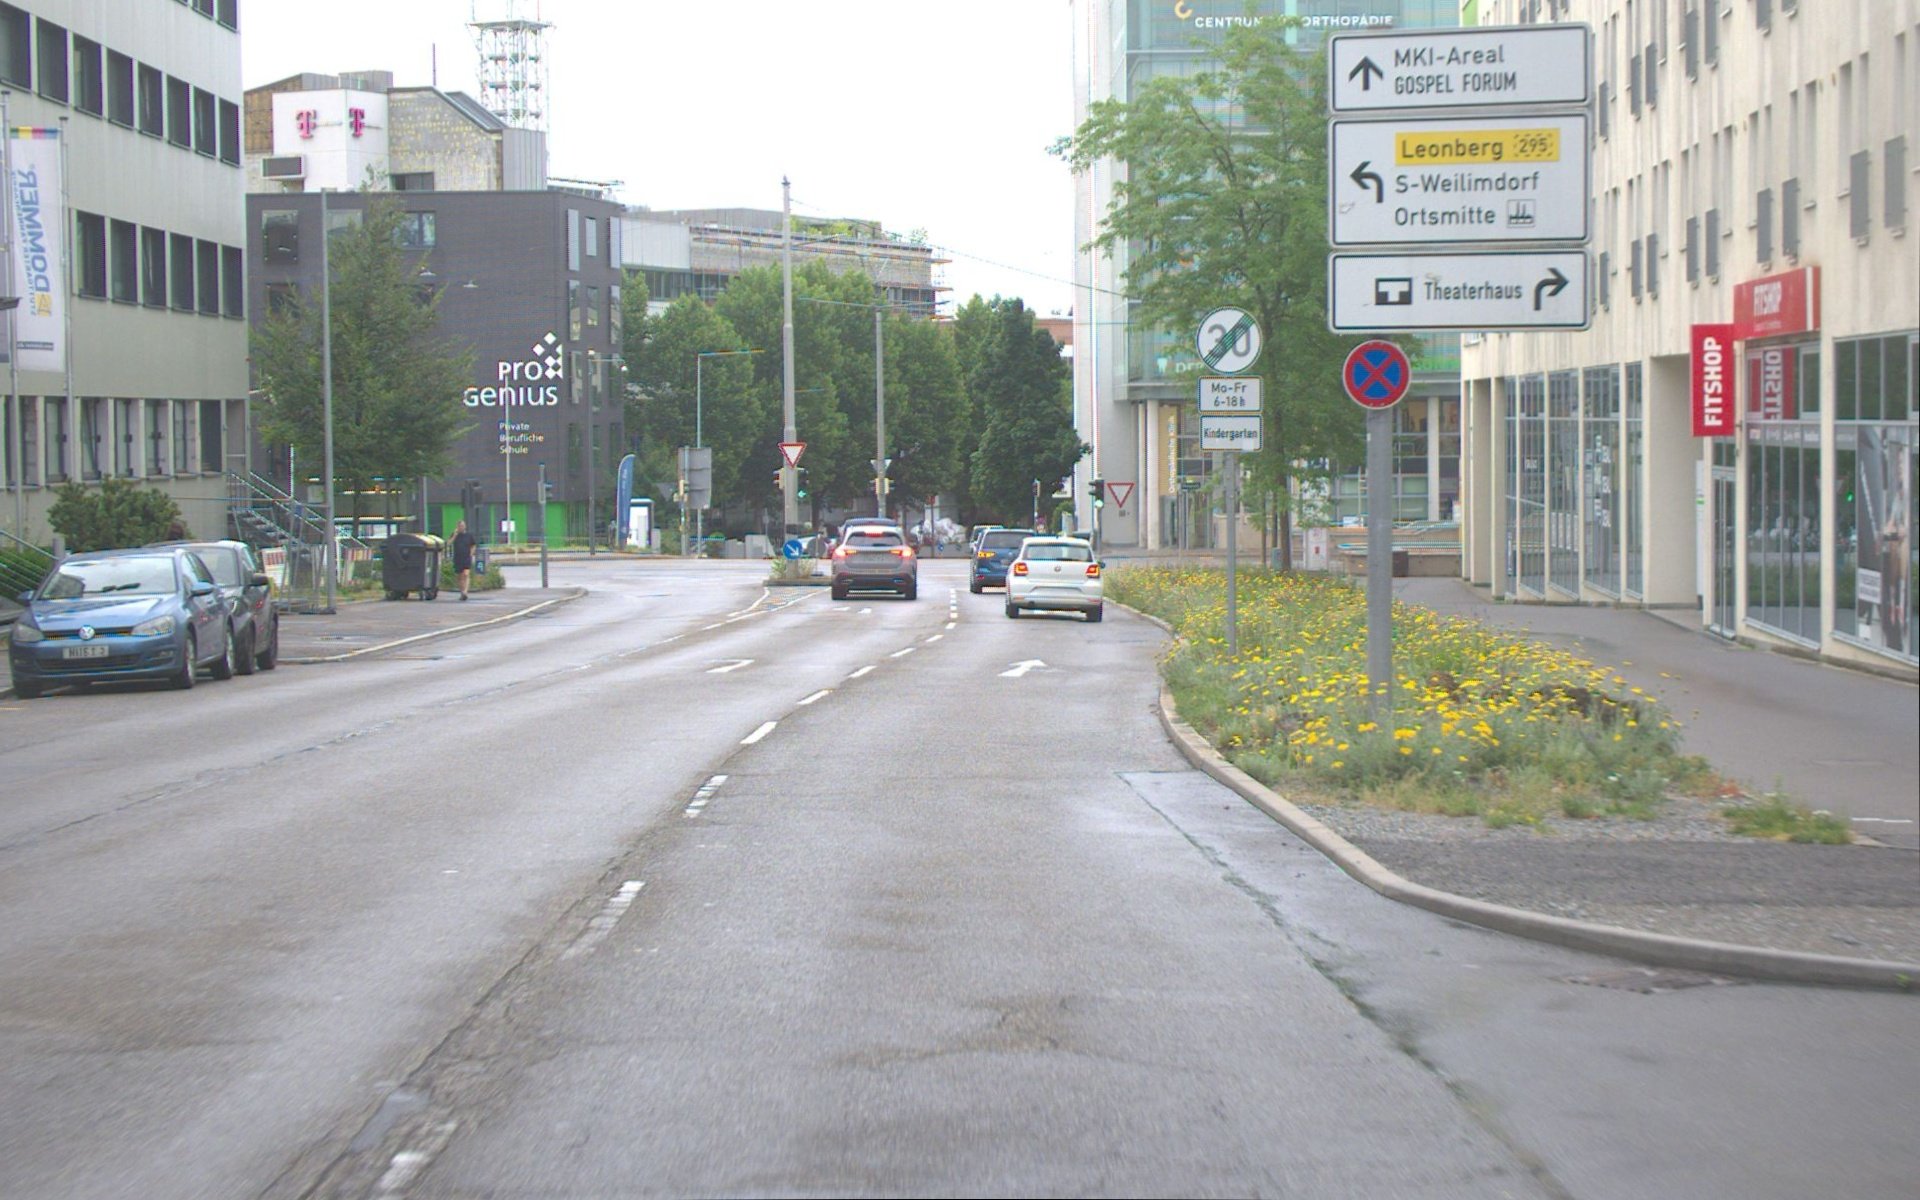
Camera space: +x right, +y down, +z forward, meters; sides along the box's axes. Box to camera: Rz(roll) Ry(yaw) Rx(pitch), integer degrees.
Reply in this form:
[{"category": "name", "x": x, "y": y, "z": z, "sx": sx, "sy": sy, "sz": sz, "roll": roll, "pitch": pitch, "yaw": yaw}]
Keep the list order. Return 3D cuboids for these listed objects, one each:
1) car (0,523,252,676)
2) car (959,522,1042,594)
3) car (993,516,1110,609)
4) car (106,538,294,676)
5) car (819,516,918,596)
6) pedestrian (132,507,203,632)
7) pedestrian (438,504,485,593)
[{"category": "car", "x": -8.643, "y": -0.019, "z": 35.742, "sx": 1.913, "sy": 1.476, "sz": 4.357, "roll": 0, "pitch": 0, "yaw": -3}, {"category": "car", "x": 0.988, "y": -1.062, "z": 85.877, "sx": 1.993, "sy": 1.744, "sz": 3.673, "roll": 0, "pitch": 1, "yaw": -1}, {"category": "car", "x": 1.615, "y": -0.691, "z": 61.046, "sx": 1.993, "sy": 1.571, "sz": 3.996, "roll": 0, "pitch": 1, "yaw": 1}, {"category": "car", "x": -8.817, "y": 0.044, "z": 40.071, "sx": 1.563, "sy": 1.509, "sz": 3.171, "roll": -1, "pitch": 1, "yaw": -2}, {"category": "car", "x": -2.031, "y": -0.974, "z": 77.084, "sx": 2.141, "sy": 1.722, "sz": 4.000, "roll": 0, "pitch": 0, "yaw": -1}, {"category": "pedestrian", "x": -10.936, "y": -0.417, "z": 47.435, "sx": 0.728, "sy": 1.702, "sz": 0.903, "roll": -1, "pitch": 0, "yaw": -28}, {"category": "pedestrian", "x": -11.029, "y": -1.140, "z": 76.091, "sx": 0.959, "sy": 1.948, "sz": 0.779, "roll": 0, "pitch": 0, "yaw": -13}]
